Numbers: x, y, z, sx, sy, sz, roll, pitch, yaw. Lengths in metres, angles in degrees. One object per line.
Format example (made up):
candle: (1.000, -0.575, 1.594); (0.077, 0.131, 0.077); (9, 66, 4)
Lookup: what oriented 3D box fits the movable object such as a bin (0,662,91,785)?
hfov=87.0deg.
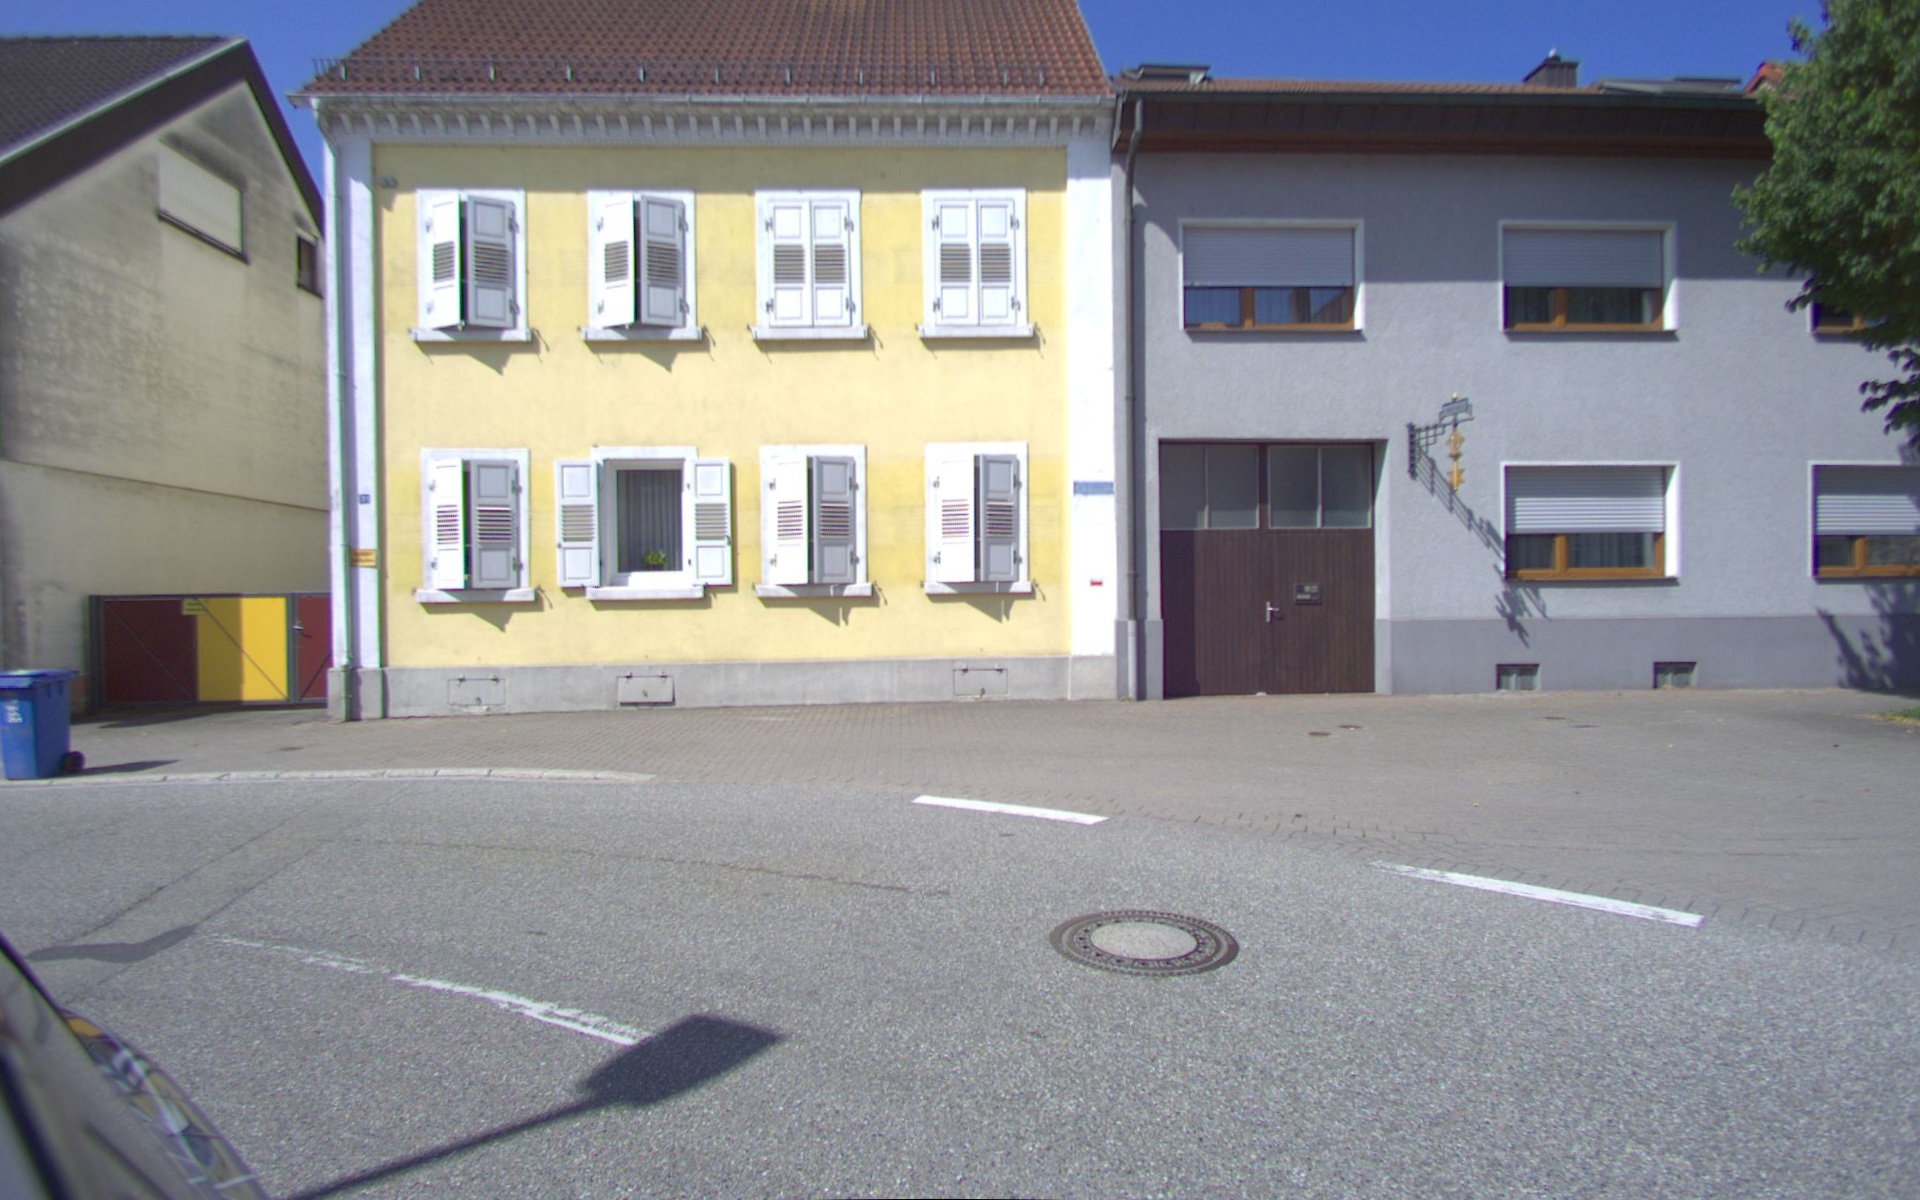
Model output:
movable object such as a bin: (-8.170, 1.070, 8.854); (0.603, 0.988, 0.646); (-1, 0, -11)
